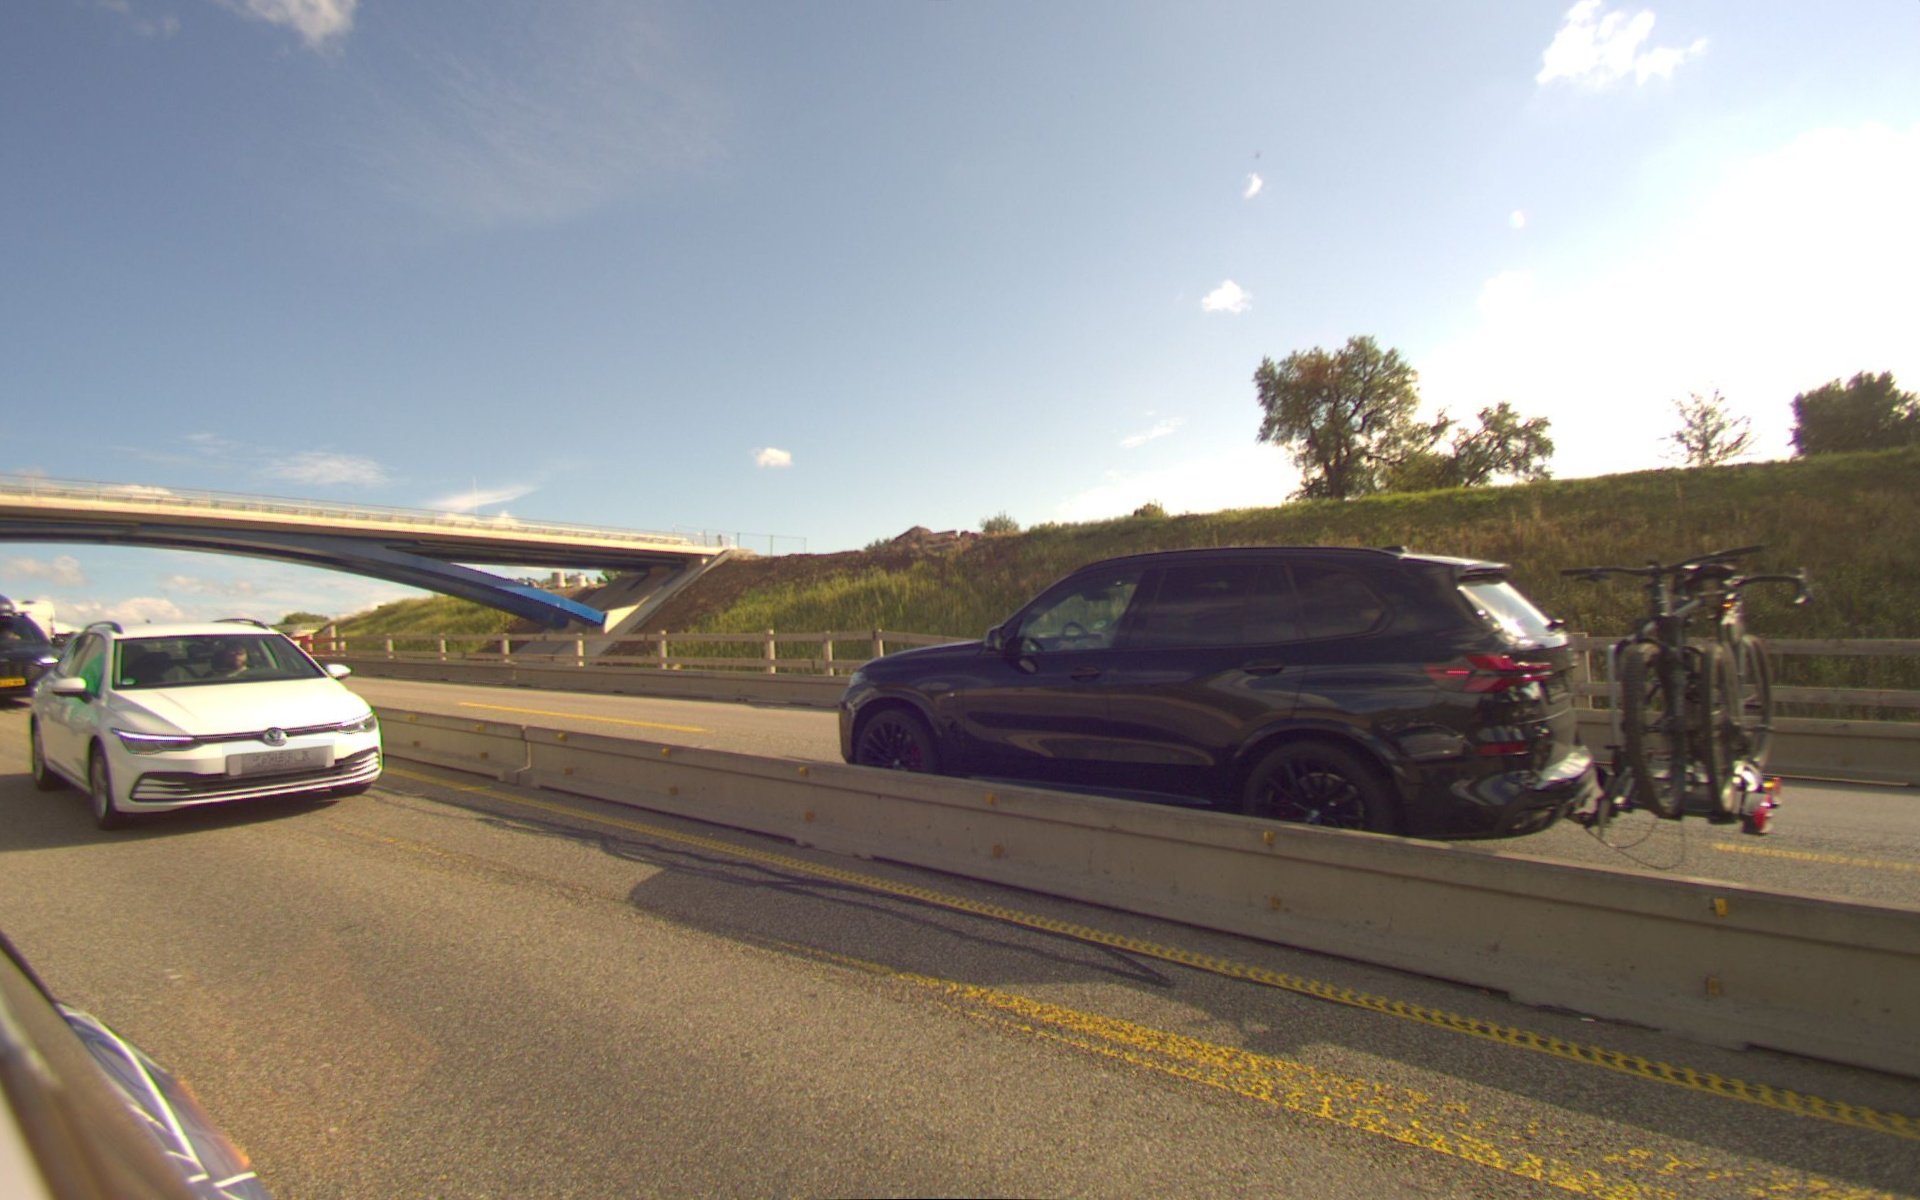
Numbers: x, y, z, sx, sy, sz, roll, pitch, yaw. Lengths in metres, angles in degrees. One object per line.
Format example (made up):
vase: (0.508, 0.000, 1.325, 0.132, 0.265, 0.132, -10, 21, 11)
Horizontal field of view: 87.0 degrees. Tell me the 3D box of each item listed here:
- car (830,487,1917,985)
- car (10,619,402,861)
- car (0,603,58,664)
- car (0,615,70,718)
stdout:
car: (1.833, 0.567, 6.131, 5.574, 1.760, 1.928, -3, -1, 40)
car: (-6.561, 0.951, 8.606, 4.372, 1.507, 1.802, -2, 0, 41)
car: (-46.966, 1.661, 50.375, 6.133, 2.857, 2.088, -1, -4, 40)
car: (-17.642, 1.162, 18.256, 4.258, 1.689, 1.831, -2, 0, 41)
